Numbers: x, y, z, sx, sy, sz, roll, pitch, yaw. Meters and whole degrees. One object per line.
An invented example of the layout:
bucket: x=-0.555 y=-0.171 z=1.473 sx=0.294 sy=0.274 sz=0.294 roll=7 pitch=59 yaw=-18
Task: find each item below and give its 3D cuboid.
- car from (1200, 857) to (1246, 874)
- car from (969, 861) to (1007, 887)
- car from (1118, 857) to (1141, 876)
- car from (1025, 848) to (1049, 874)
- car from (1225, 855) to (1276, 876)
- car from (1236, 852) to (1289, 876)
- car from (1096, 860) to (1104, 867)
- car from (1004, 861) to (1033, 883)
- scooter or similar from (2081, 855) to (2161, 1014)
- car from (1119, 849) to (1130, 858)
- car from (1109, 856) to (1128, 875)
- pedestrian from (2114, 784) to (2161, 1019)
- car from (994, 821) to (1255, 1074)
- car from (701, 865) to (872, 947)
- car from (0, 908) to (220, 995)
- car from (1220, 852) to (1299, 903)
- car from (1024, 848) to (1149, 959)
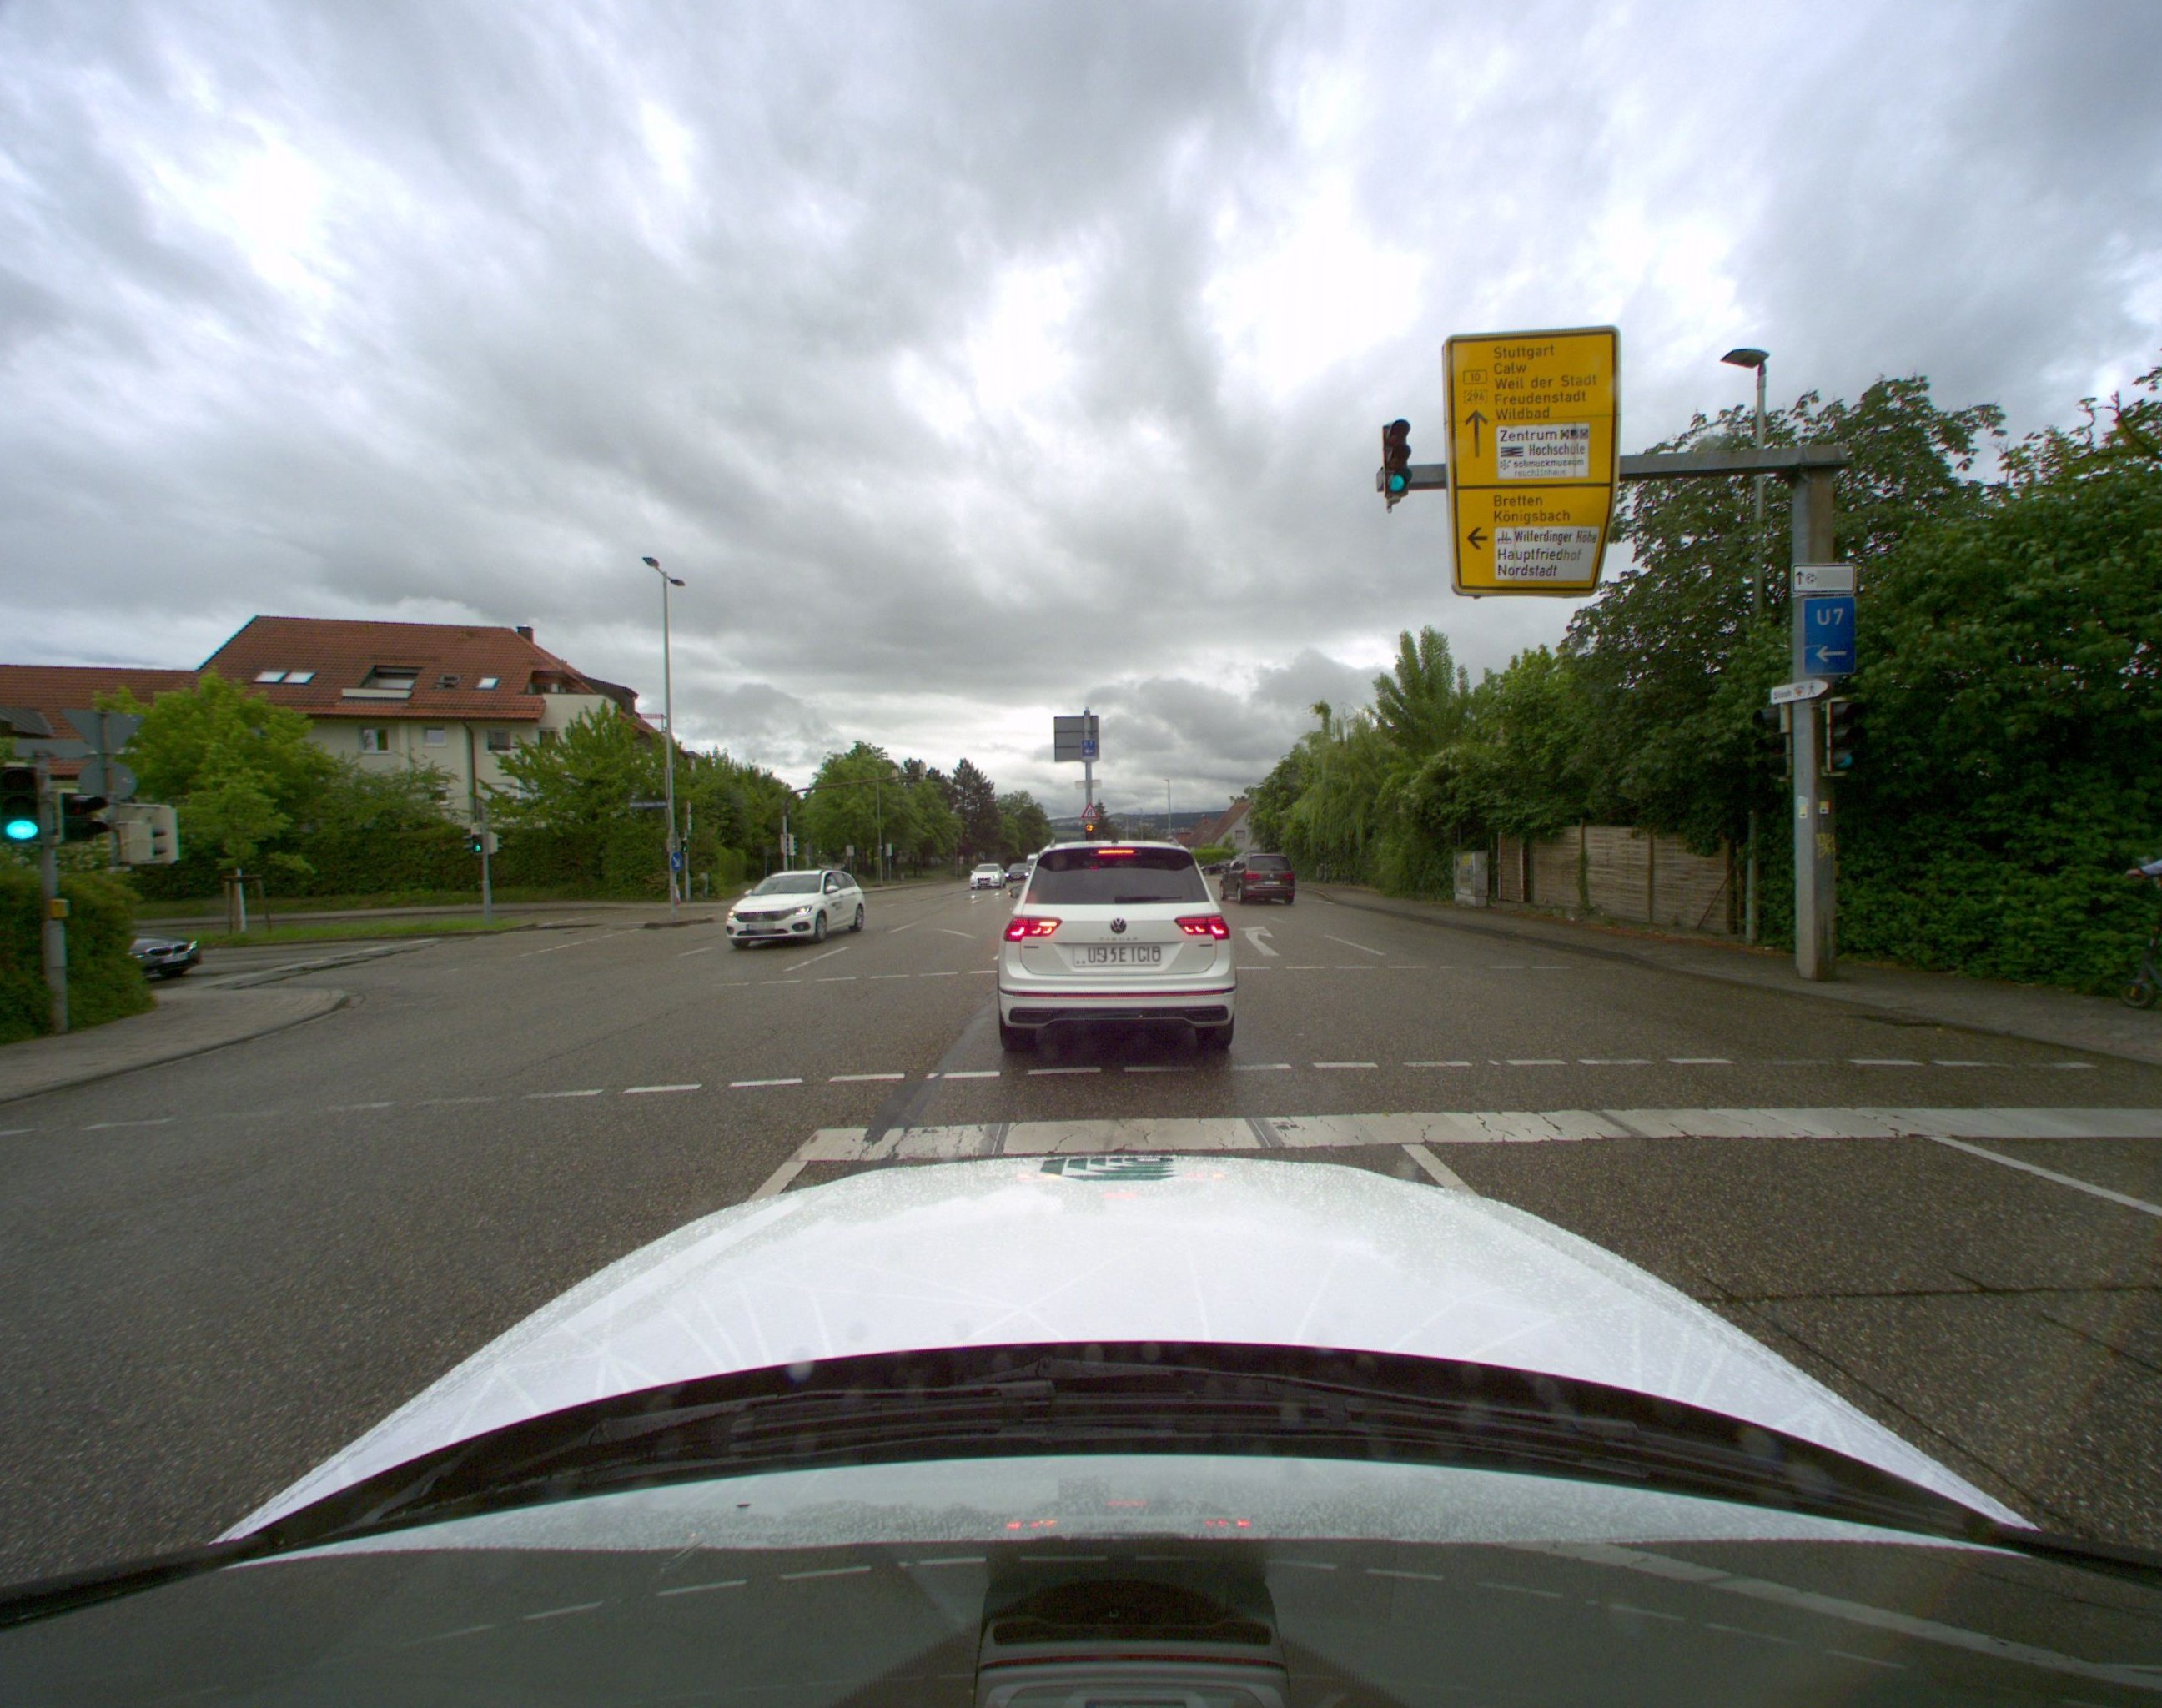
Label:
car: x=12.044 y=0.999 z=69.183 sx=3.675 sy=1.370 sz=1.518 roll=-1 pitch=-2 yaw=0
car: x=-5.458 y=1.164 z=48.088 sx=1.740 sy=1.397 sz=3.801 roll=-1 pitch=0 yaw=0
car: x=3.829 y=0.951 z=65.195 sx=1.675 sy=1.460 sz=3.802 roll=0 pitch=0 yaw=1
car: x=-4.576 y=0.731 z=85.240 sx=2.291 sy=2.528 sz=5.771 roll=-2 pitch=0 yaw=-1
car: x=13.385 y=0.893 z=64.366 sx=3.618 sy=1.626 sz=1.790 roll=-1 pitch=1 yaw=-3
car: x=13.752 y=0.767 z=61.742 sx=3.618 sy=1.746 sz=1.706 roll=-1 pitch=0 yaw=-2
car: x=4.647 y=2.271 z=200.459 sx=1.843 sy=1.574 sz=4.002 roll=-2 pitch=0 yaw=2
car: x=-4.868 y=1.391 z=63.984 sx=1.770 sy=1.502 sz=4.472 roll=-3 pitch=0 yaw=1
scooter or similar: x=9.561 y=0.696 z=6.888 sx=0.460 sy=1.361 sz=1.384 roll=-1 pitch=0 yaw=-2
car: x=7.724 y=-0.045 z=145.826 sx=1.843 sy=1.574 sz=4.002 roll=-2 pitch=0 yaw=2
car: x=3.660 y=1.089 z=79.769 sx=1.706 sy=1.758 sz=3.802 roll=-1 pitch=0 yaw=1
pedestrian: x=9.506 y=0.398 z=6.858 sx=0.653 sy=2.002 sz=0.718 roll=-1 pitch=-1 yaw=0
car: x=0.337 y=0.640 z=7.677 sx=1.756 sy=1.696 sz=4.273 roll=1 pitch=0 yaw=1
car: x=-6.130 y=1.050 z=17.577 sx=1.960 sy=1.454 sz=4.309 roll=-3 pitch=-2 yaw=1
car: x=-21.042 y=2.033 z=16.772 sx=4.412 sy=1.393 sz=1.774 roll=-3 pitch=2 yaw=-4
car: x=5.812 y=0.719 z=26.978 sx=1.730 sy=1.575 sz=4.067 roll=0 pitch=0 yaw=0
car: x=0.156 y=0.720 z=13.764 sx=1.791 sy=1.589 sz=3.928 roll=-1 pitch=0 yaw=2
